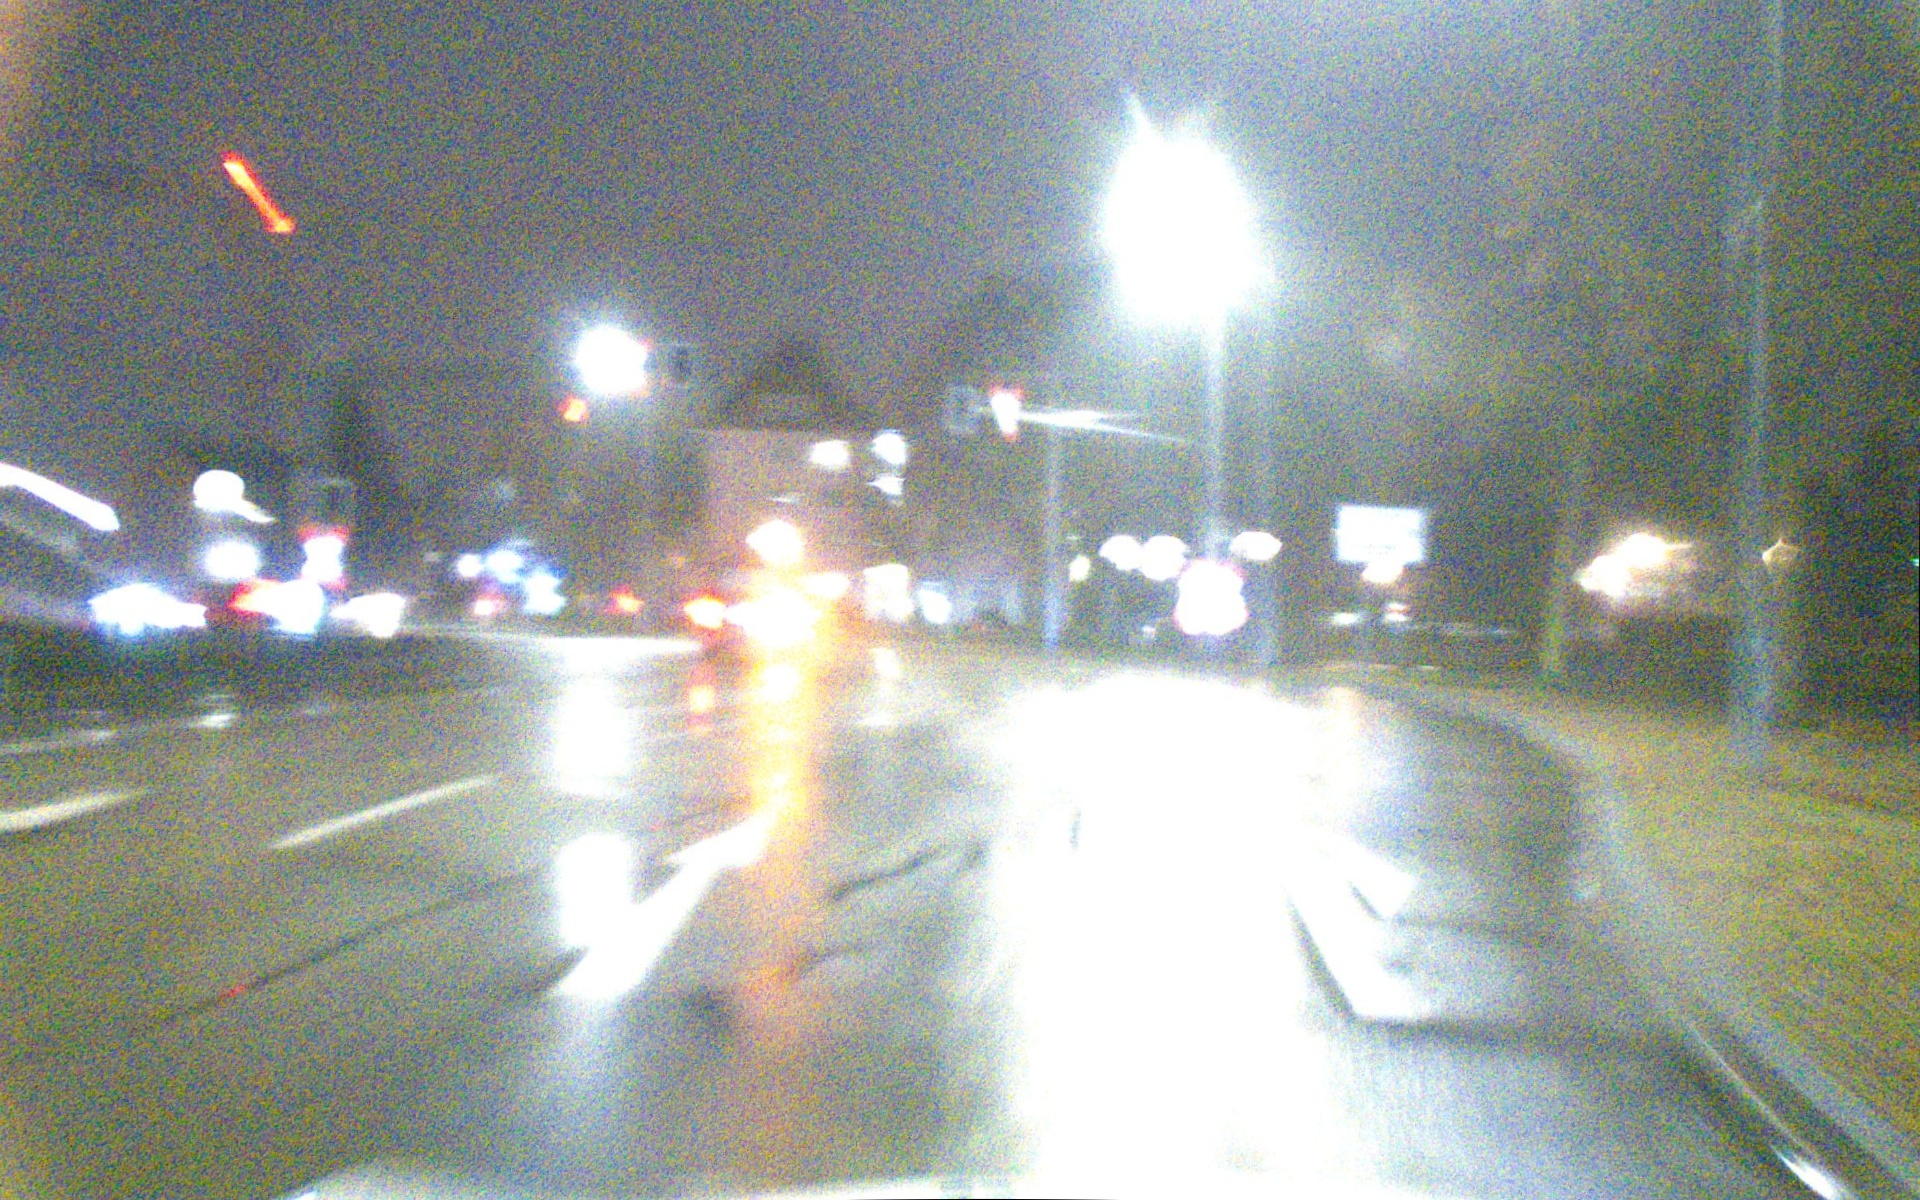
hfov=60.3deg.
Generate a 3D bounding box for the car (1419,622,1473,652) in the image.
[{"bbox_3d":[26.903,2.019,91.712,1.682,1.563,3.910,2,-1,-2],"label":"car"}]

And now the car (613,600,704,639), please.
[{"bbox_3d":[-14.666,0.955,80.570,3.902,1.713,1.920,2,-1,7],"label":"car"}]

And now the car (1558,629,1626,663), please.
[{"bbox_3d":[30.619,2.208,80.208,1.682,1.563,3.910,2,-1,-2],"label":"car"}]

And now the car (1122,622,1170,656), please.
[{"bbox_3d":[8.936,1.862,79.590,1.682,1.523,3.910,2,-1,-2],"label":"car"}]

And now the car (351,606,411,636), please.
[{"bbox_3d":[-37.594,1.391,107.556,1.832,1.789,4.397,2,-1,7],"label":"car"}]

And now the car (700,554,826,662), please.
[{"bbox_3d":[-4.034,0.199,34.614,1.952,2.049,4.557,2,-1,1],"label":"car"}]

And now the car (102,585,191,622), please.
[{"bbox_3d":[-40.098,0.213,81.615,1.818,1.669,3.894,2,-1,12],"label":"car"}]

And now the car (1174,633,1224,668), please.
[{"bbox_3d":[11.489,2.419,79.624,1.682,1.563,3.910,2,-1,-2],"label":"car"}]

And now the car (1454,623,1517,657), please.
[{"bbox_3d":[25.471,1.930,80.230,1.682,1.563,3.910,2,-1,-2],"label":"car"}]

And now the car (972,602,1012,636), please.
[{"bbox_3d":[1.506,0.926,79.637,1.682,1.523,3.910,2,-1,-2],"label":"car"}]
